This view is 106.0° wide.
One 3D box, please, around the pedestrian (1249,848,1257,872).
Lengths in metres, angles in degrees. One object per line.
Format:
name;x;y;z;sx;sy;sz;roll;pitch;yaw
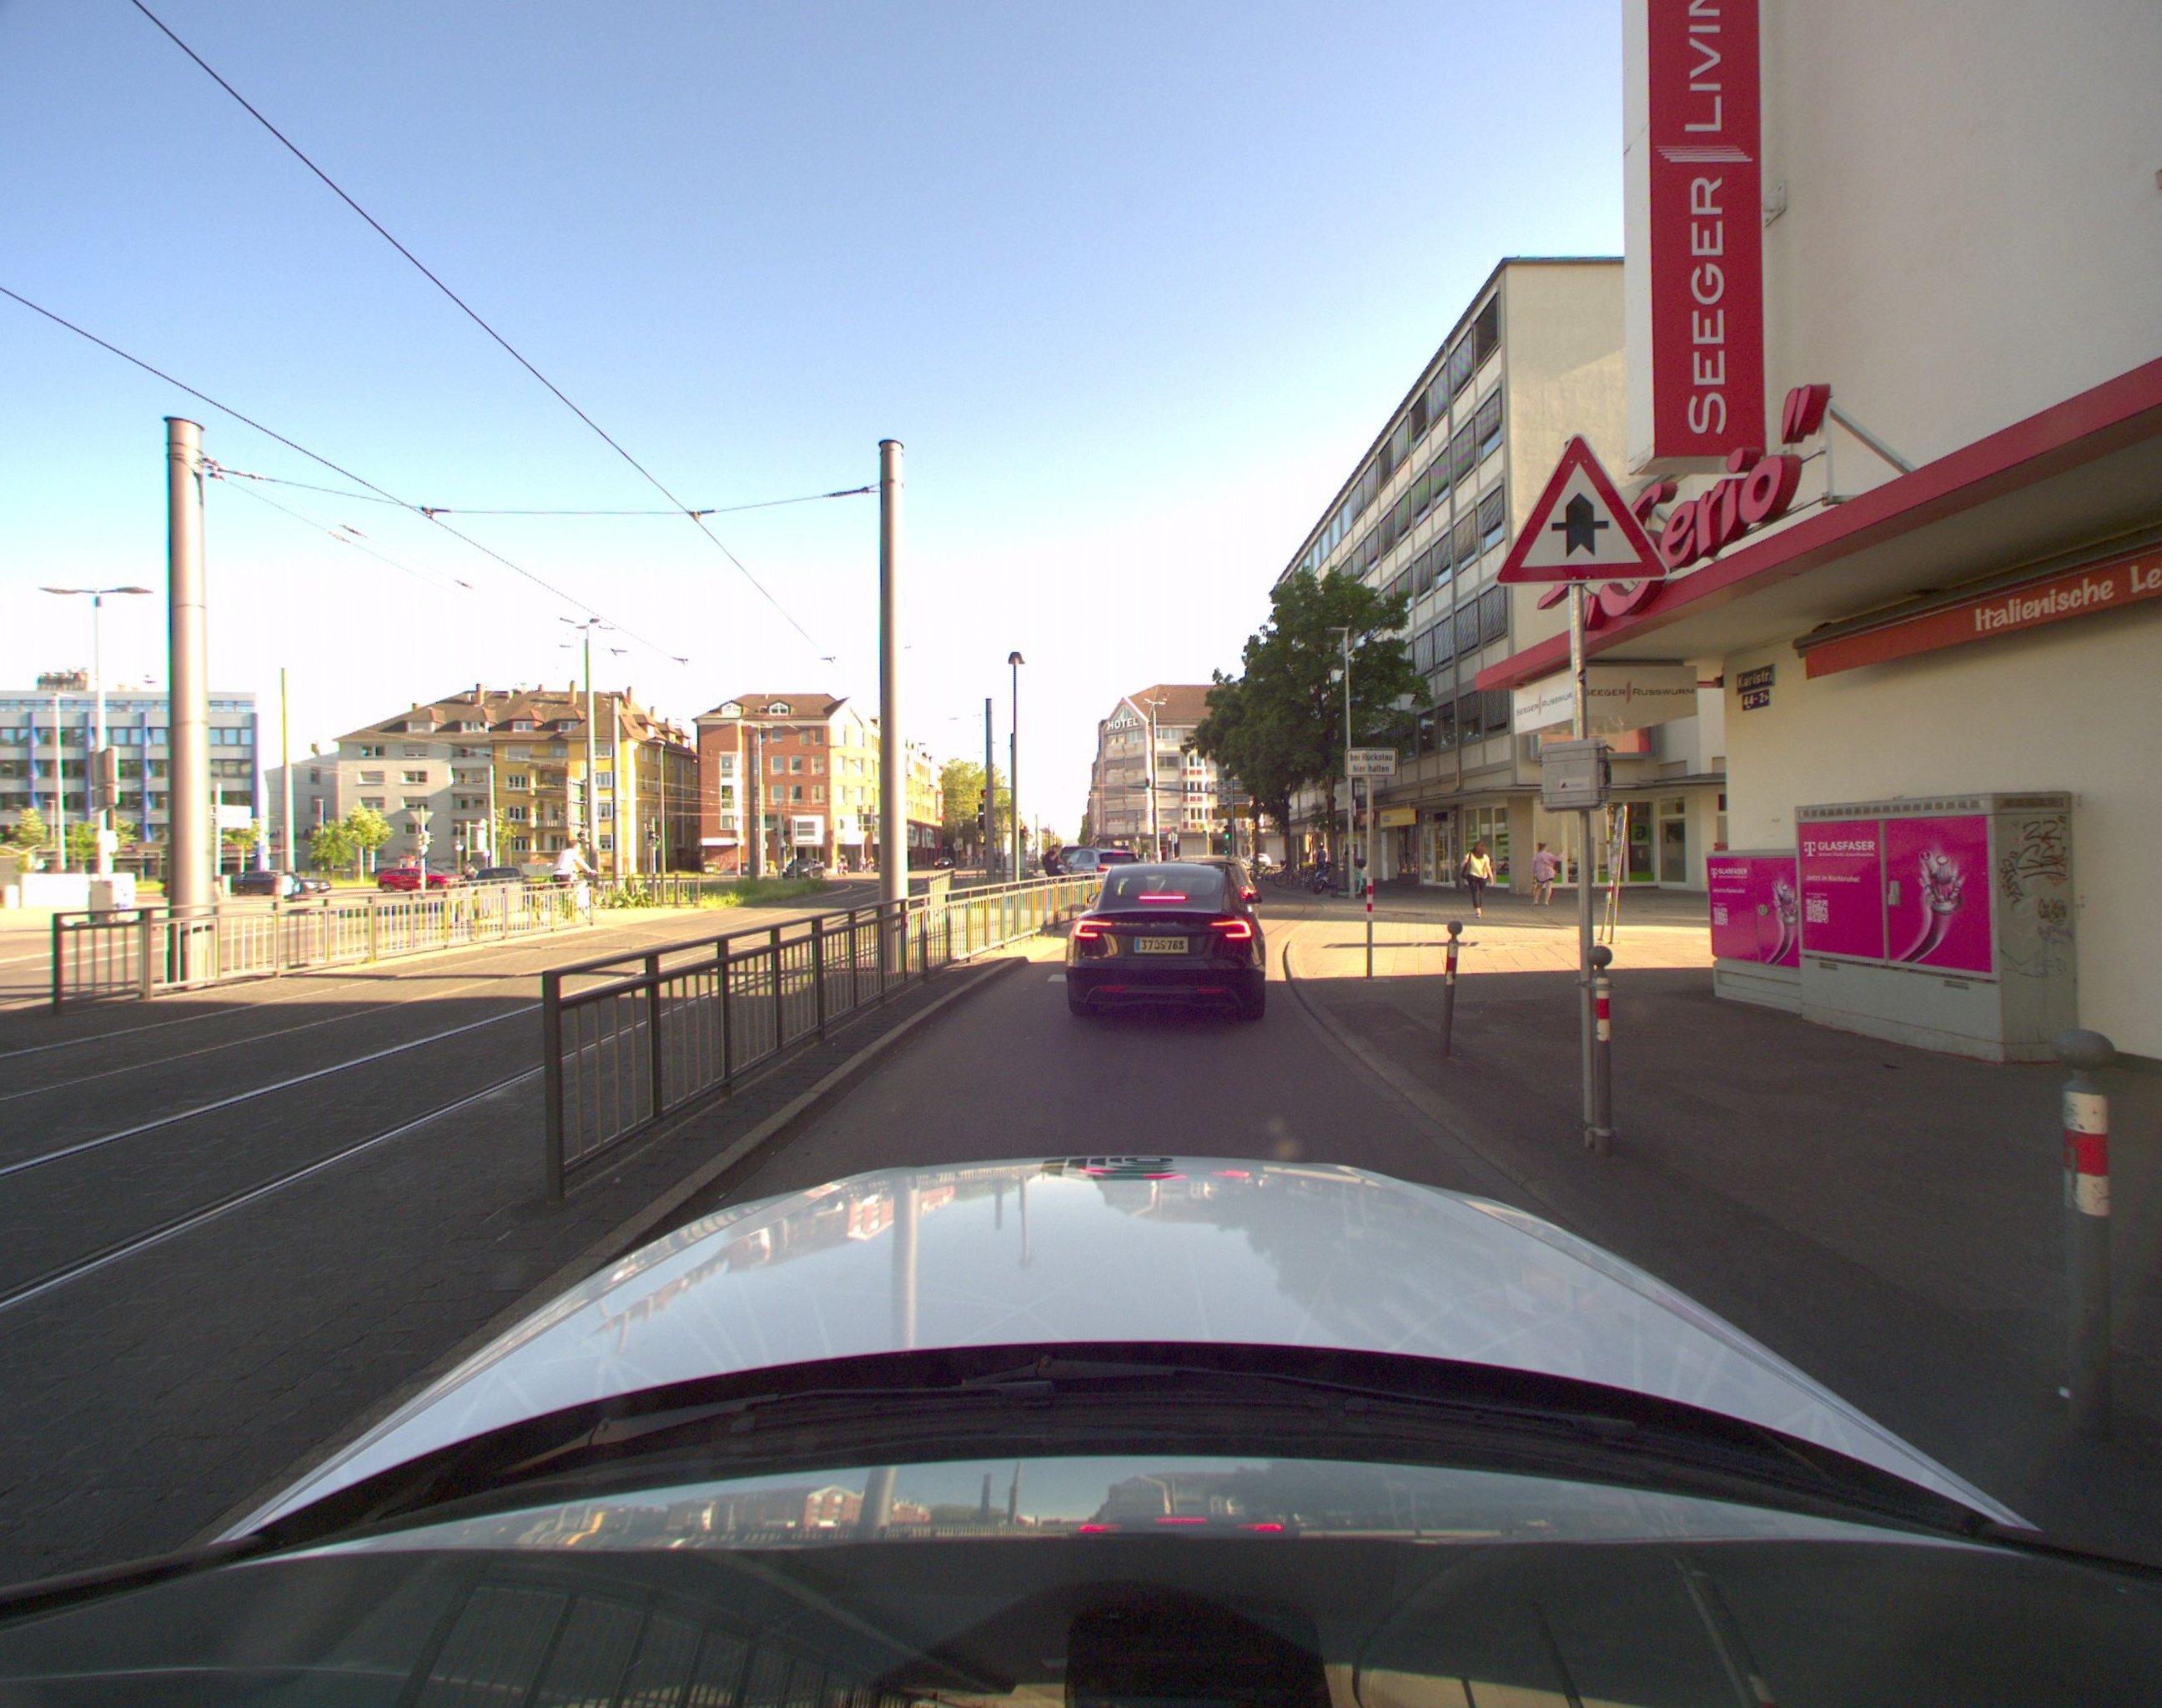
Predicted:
pedestrian;12.241;0.458;58.009;0.523;1.710;0.404;-1;-1;10

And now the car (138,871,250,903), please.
car;-50.622;1.873;46.573;3.952;1.685;1.903;0;-1;-11

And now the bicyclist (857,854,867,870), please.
bicyclist;-22.476;0.808;83.563;0.780;1.563;0.747;-1;0;3

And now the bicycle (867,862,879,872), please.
bicycle;-22.248;1.376;87.200;0.527;1.088;2.286;0;-1;4

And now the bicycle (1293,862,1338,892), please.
bicycle;8.899;0.862;30.957;1.649;1.099;0.349;0;-1;-9

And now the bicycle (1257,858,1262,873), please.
bicycle;12.638;0.805;57.569;0.330;1.034;1.260;-1;-1;11

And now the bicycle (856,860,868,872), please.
bicycle;-22.465;1.226;83.537;0.527;1.088;2.286;-1;0;4

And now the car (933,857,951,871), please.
car;-17.672;1.209;103.708;1.692;1.731;3.706;0;-1;0

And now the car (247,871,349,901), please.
car;-45.491;1.834;47.392;3.984;1.672;1.772;0;-1;-8

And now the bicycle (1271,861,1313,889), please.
bicycle;8.621;0.849;33.339;1.649;1.099;0.349;0;-1;-9

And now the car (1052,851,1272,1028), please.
car;0.906;0.725;8.797;1.820;1.455;4.007;0;-1;7

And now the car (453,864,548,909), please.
car;-21.566;1.153;30.404;1.643;1.526;3.845;0;-1;-15

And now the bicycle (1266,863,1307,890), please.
bicycle;8.645;0.947;34.265;1.649;1.099;0.349;0;-1;-9

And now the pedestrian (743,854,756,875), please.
pedestrian;-28.795;0.914;70.825;0.780;1.820;0.747;0;-1;3

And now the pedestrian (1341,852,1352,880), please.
pedestrian;12.805;0.596;39.287;0.388;1.343;0.513;0;-1;4

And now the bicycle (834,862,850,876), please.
bicycle;-19.585;1.203;66.843;0.456;1.093;2.205;0;-1;6

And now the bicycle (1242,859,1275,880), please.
bicycle;9.248;0.792;42.412;1.643;1.099;0.350;0;-1;3

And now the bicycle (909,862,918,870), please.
bicycle;-21.818;1.552;105.996;0.527;1.088;2.227;0;-1;4

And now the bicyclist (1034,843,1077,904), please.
bicyclist;-0.710;0.526;22.435;0.763;1.628;0.967;0;-1;-37

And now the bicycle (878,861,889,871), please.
bicycle;-21.748;1.280;89.748;0.527;1.088;2.227;-1;0;4

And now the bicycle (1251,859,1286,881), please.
bicycle;9.284;0.799;40.270;1.643;1.099;0.350;0;-1;3

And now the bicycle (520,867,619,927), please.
bicycle;-11.062;0.895;17.683;0.479;1.222;1.865;-1;-1;25

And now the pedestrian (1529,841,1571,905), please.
pedestrian;12.446;0.503;21.623;0.881;1.667;0.813;-1;-1;25

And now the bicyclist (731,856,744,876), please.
bicyclist;-26.030;0.914;61.735;0.631;1.503;0.696;0;-1;1

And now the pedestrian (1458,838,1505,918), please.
pedestrian;9.021;0.533;18.397;0.906;1.752;1.044;-1;-1;25

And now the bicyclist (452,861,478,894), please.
bicyclist;-34.770;1.331;45.998;0.901;1.808;0.788;0;-1;-11

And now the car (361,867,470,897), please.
car;-39.457;1.650;48.387;4.585;1.700;1.993;0;-1;-10

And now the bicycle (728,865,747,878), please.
bicycle;-26.015;1.325;61.725;0.445;0.972;2.247;0;-1;2

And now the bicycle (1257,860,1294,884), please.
bicycle;9.144;0.838;38.231;1.643;1.099;0.350;0;-1;3

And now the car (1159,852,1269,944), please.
car;2.418;0.703;15.047;1.741;1.454;4.009;-1;0;8

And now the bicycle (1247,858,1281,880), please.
bicycle;9.266;0.762;41.317;1.643;1.099;0.350;-1;0;3

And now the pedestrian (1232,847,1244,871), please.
pedestrian;11.164;0.354;57.829;0.697;1.662;0.777;0;-1;1

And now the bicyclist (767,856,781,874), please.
bicyclist;-25.879;0.916;68.561;0.895;1.503;0.696;0;-1;1

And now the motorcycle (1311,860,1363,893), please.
motorcycle;9.148;0.811;29.124;1.701;1.173;0.541;0;-1;0

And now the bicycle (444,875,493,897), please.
bicycle;-34.589;1.809;46.036;2.188;1.214;0.544;0;-1;-11

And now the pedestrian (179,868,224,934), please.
pedestrian;-23.020;1.207;21.334;0.585;1.681;0.779;-1;-1;43

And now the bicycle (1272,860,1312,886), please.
bicycle;9.122;0.807;35.277;1.643;1.099;0.350;0;-1;3

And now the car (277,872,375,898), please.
car;-46.286;1.900;50.003;3.990;1.483;1.786;0;-1;-12

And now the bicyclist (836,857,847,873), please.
bicyclist;-23.007;1.081;78.336;0.780;1.563;0.747;0;-1;3

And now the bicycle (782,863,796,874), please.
bicycle;-26.865;1.353;74.961;0.402;0.981;1.699;-1;-1;10

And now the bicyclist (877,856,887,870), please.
bicyclist;-21.808;0.982;89.237;0.780;1.563;0.747;-1;0;3

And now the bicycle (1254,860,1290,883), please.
bicycle;9.208;0.842;39.257;1.643;1.099;0.350;0;-1;3

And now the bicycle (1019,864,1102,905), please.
bicycle;-0.552;0.819;22.572;2.346;1.053;0.624;0;-1;-36

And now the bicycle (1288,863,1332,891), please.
bicycle;8.821;0.879;31.381;1.649;1.061;0.349;0;-1;-9

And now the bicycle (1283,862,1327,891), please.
bicycle;8.735;0.861;31.807;1.649;1.099;0.349;0;-1;-9

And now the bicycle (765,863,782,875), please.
bicycle;-25.897;1.291;68.574;0.522;0.972;2.247;0;-1;2

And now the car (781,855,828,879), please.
car;-19.013;0.876;56.150;1.703;1.527;4.040;0;-1;3

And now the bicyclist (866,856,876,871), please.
bicyclist;-22.342;0.976;86.612;0.780;1.563;0.747;-1;0;3

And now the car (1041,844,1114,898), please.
car;-0.211;0.666;32.782;1.997;2.014;3.980;-1;0;-15

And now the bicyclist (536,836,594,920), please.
bicyclist;-11.128;0.514;17.572;0.749;1.759;0.757;-1;-1;25

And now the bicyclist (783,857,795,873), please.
bicyclist;-26.858;0.976;74.927;0.699;1.471;0.975;-1;-1;9

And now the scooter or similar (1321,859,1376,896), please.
scooter or similar;8.903;0.766;27.118;1.625;1.215;0.649;-1;-1;32

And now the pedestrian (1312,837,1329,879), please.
pedestrian;11.796;0.191;40.069;0.659;2.014;0.580;0;-1;4

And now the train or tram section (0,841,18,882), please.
train or tram section;-88.275;0.598;61.127;11.235;3.131;2.794;0;-1;-11

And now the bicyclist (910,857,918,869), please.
bicyclist;-21.787;1.125;106.196;0.780;1.563;0.747;0;-1;3

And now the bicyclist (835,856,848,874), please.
bicyclist;-19.665;0.892;66.880;0.781;1.527;0.590;0;-1;6

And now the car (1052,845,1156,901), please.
car;0.642;0.588;26.634;1.891;1.662;4.126;0;-1;-23

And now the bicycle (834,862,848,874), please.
bicycle;-23.036;1.314;78.303;0.535;1.088;2.227;0;-1;4
